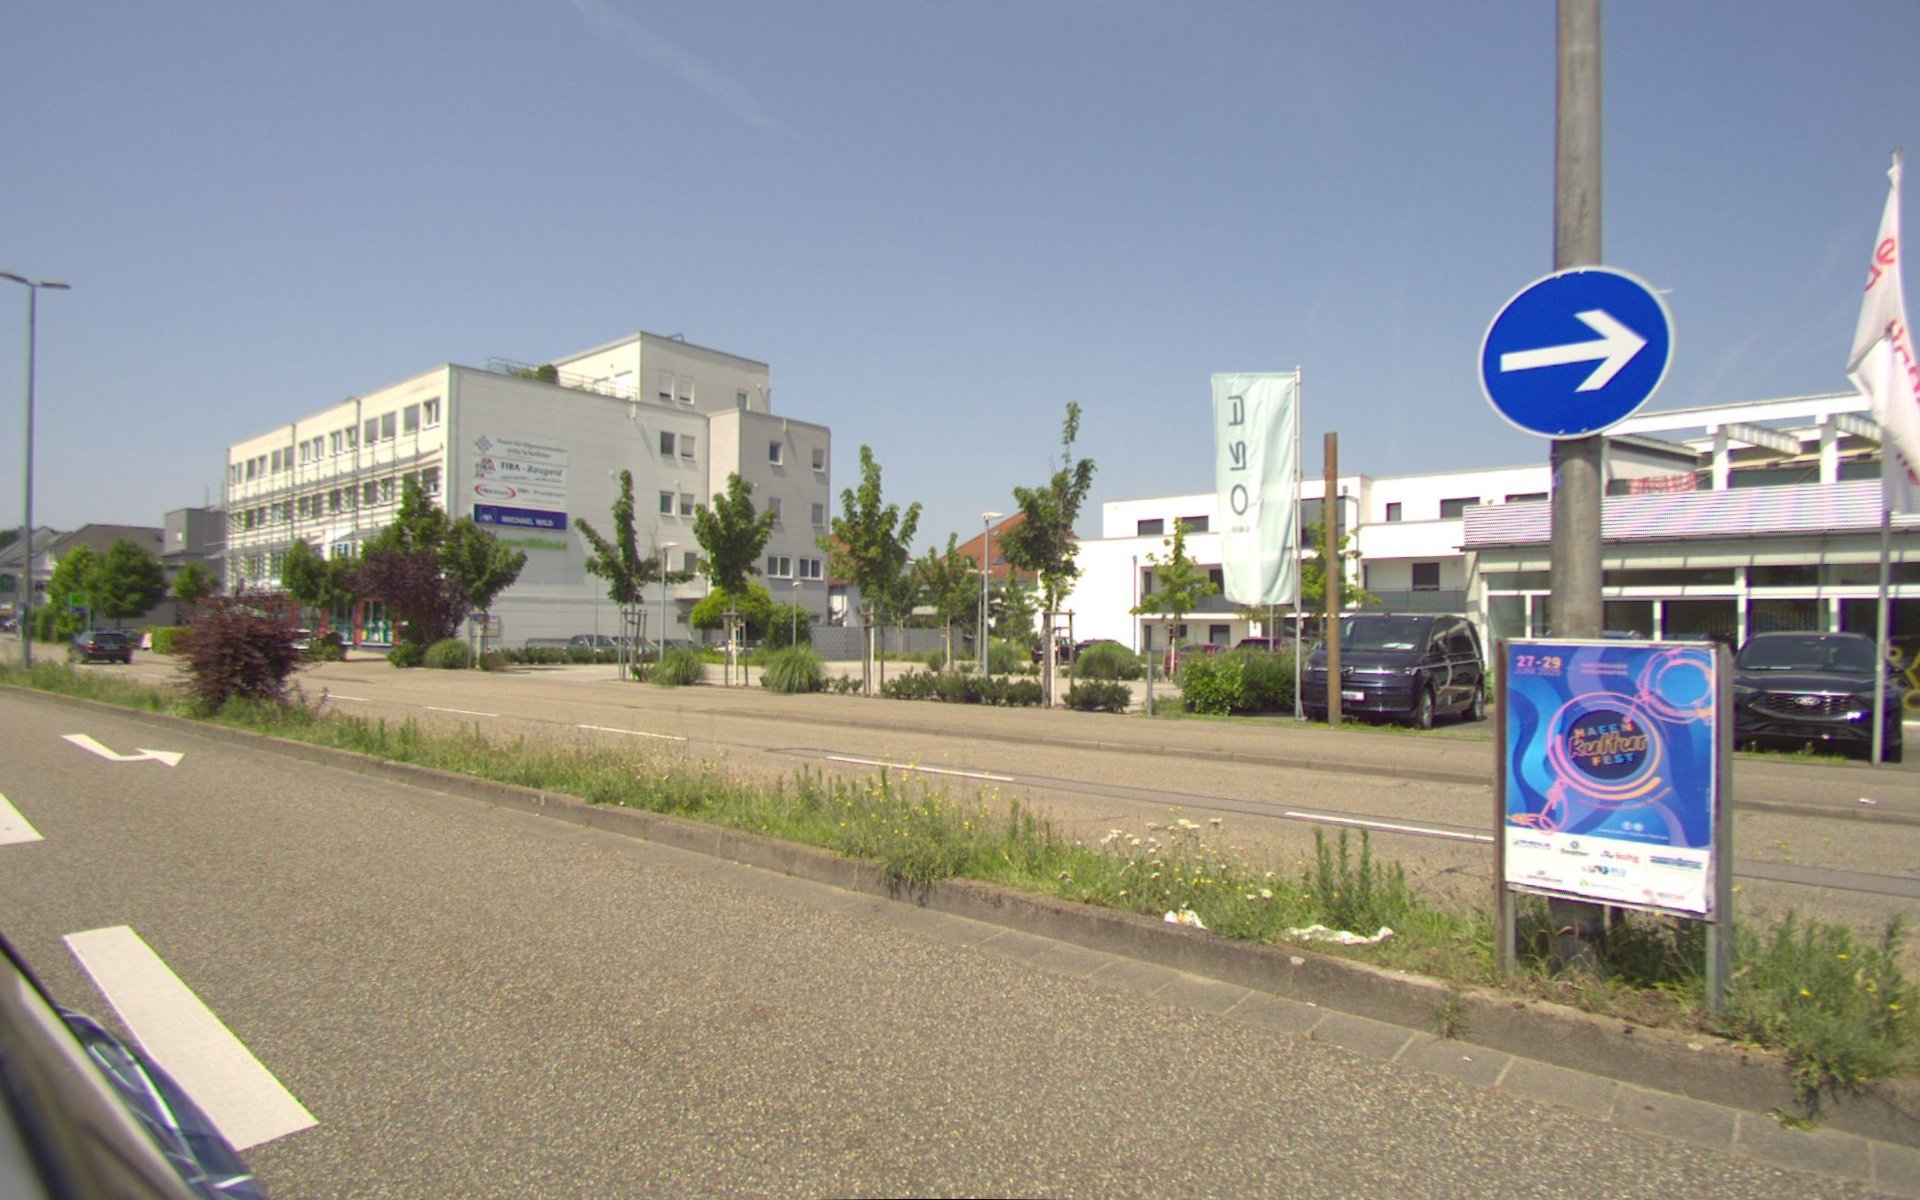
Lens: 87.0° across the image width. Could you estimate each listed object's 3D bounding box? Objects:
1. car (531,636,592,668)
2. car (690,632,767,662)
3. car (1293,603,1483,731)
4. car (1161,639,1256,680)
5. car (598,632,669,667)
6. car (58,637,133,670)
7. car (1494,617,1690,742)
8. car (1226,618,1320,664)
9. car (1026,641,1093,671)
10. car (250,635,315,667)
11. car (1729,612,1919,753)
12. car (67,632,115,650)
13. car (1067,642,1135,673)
[{"bbox_3d":[-17.609,2.282,44.676,2.832,1.350,1.437,-2,-3,43],"label":"car"},{"bbox_3d":[-11.497,2.307,50.086,3.833,1.394,1.899,-2,-3,43],"label":"car"},{"bbox_3d":[7.364,1.071,17.222,1.998,1.896,3.948,-1,-2,38],"label":"car"},{"bbox_3d":[8.737,2.036,35.374,1.844,1.324,3.950,-1,-2,37],"label":"car"},{"bbox_3d":[-14.892,2.230,46.127,3.555,1.530,1.536,-2,-3,43],"label":"car"},{"bbox_3d":[-40.360,2.462,47.223,4.707,1.472,1.810,-1,-3,39],"label":"car"},{"bbox_3d":[9.674,1.133,15.355,2.087,1.621,3.948,-1,-3,38],"label":"car"},{"bbox_3d":[10.627,1.362,34.213,1.875,1.464,3.951,-1,-2,36],"label":"car"},{"bbox_3d":[5.317,2.945,53.731,1.874,1.464,3.954,-1,-2,34],"label":"car"},{"bbox_3d":[-33.241,2.470,49.642,3.661,1.460,1.675,-1,-1,39],"label":"car"},{"bbox_3d":[11.559,1.095,13.680,1.758,1.621,3.948,-1,-5,38],"label":"car"},{"bbox_3d":[-69.147,3.251,80.514,1.445,1.423,2.702,-2,-3,40],"label":"car"},{"bbox_3d":[7.299,2.938,52.275,1.875,1.464,3.951,-1,-2,36],"label":"car"}]
